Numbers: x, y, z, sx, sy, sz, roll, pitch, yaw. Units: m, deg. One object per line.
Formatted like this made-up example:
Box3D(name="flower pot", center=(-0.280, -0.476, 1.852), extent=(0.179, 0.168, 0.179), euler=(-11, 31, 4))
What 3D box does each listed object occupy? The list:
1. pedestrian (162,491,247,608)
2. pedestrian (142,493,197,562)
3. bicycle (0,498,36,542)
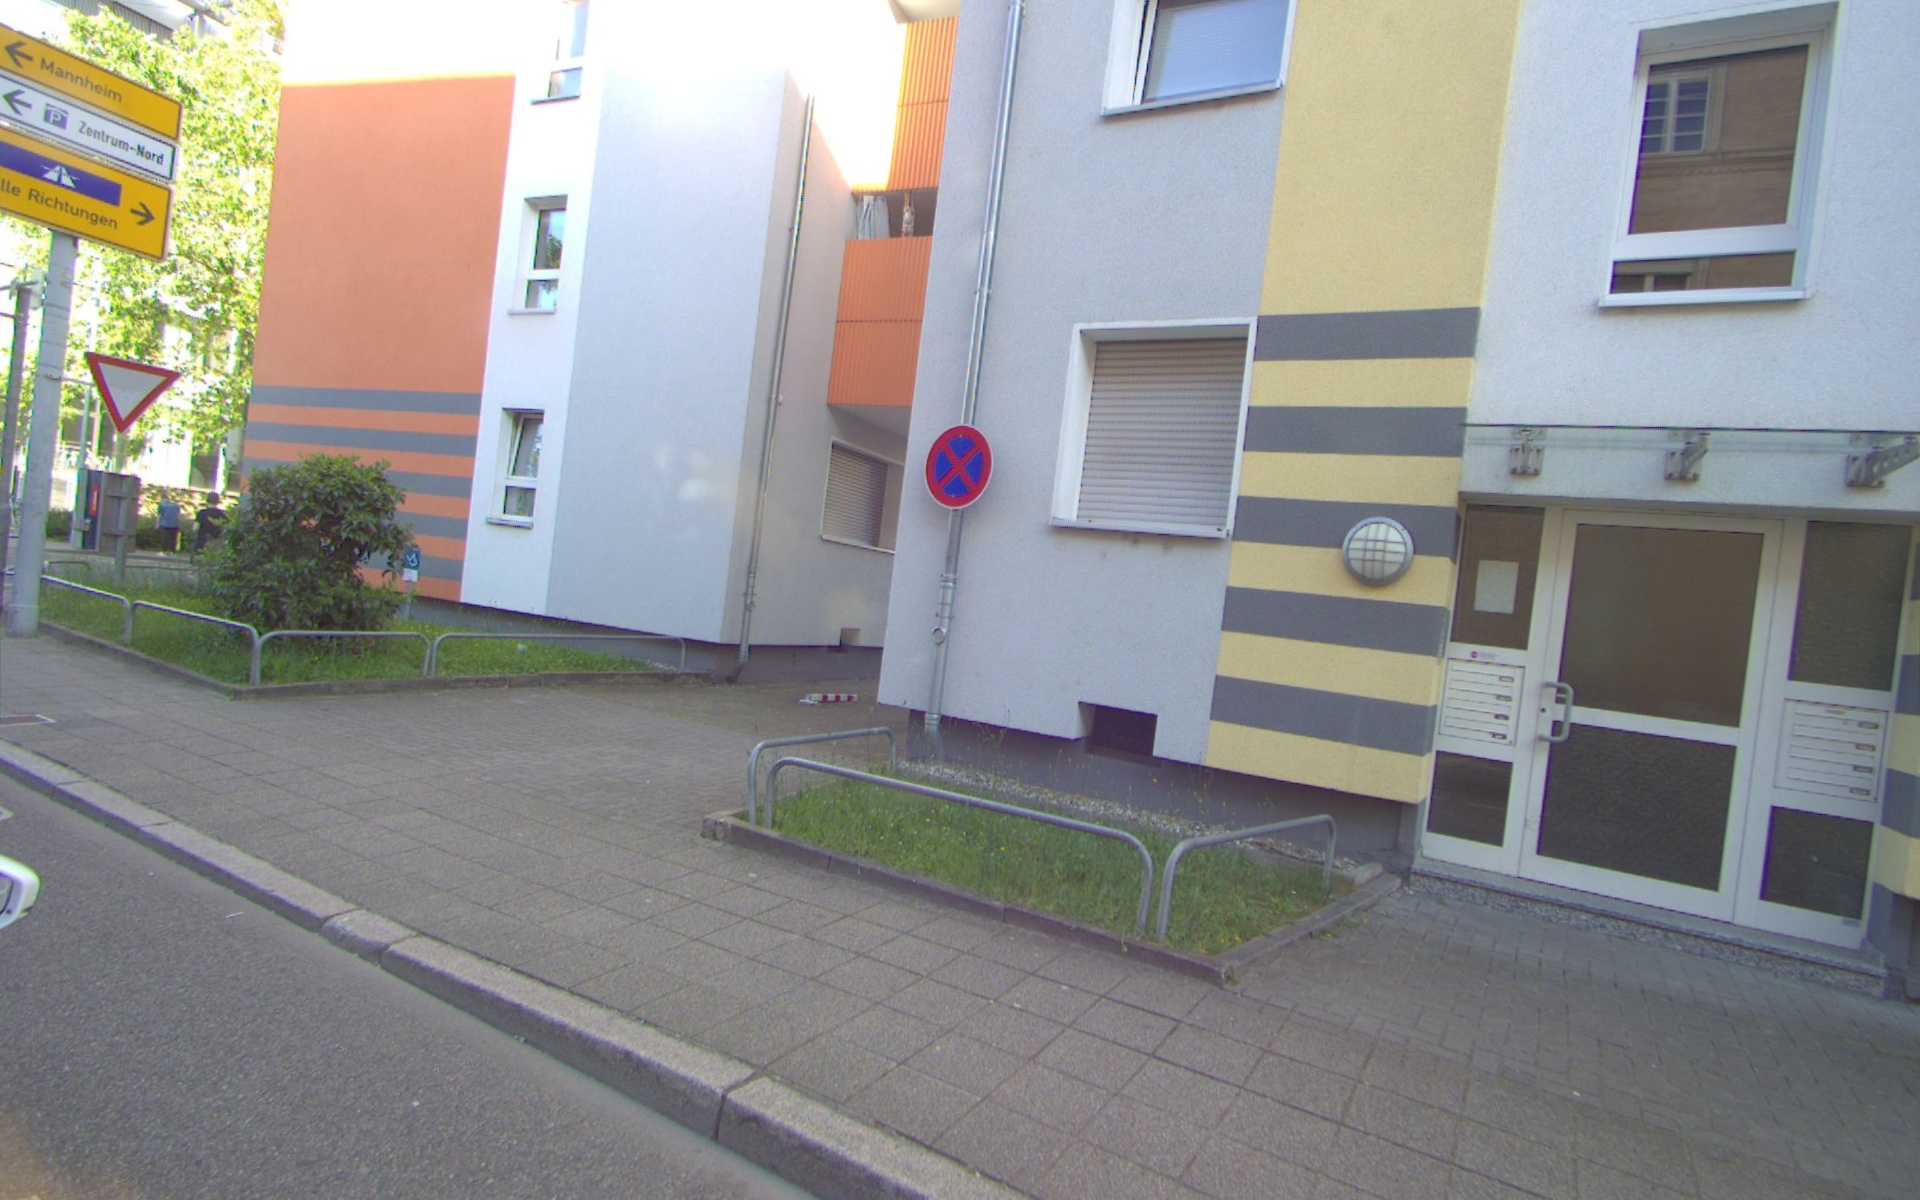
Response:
Box3D(name="pedestrian", center=(-12.895, -0.858, 17.177), extent=(0.823, 1.861, 0.708), euler=(8, 0, 32))
Box3D(name="pedestrian", center=(-23.075, -2.105, 29.383), extent=(0.696, 1.861, 0.837), euler=(8, -1, 22))
Box3D(name="bicycle", center=(-26.272, -2.239, 27.352), extent=(1.658, 1.063, 0.508), euler=(9, 2, -3))
